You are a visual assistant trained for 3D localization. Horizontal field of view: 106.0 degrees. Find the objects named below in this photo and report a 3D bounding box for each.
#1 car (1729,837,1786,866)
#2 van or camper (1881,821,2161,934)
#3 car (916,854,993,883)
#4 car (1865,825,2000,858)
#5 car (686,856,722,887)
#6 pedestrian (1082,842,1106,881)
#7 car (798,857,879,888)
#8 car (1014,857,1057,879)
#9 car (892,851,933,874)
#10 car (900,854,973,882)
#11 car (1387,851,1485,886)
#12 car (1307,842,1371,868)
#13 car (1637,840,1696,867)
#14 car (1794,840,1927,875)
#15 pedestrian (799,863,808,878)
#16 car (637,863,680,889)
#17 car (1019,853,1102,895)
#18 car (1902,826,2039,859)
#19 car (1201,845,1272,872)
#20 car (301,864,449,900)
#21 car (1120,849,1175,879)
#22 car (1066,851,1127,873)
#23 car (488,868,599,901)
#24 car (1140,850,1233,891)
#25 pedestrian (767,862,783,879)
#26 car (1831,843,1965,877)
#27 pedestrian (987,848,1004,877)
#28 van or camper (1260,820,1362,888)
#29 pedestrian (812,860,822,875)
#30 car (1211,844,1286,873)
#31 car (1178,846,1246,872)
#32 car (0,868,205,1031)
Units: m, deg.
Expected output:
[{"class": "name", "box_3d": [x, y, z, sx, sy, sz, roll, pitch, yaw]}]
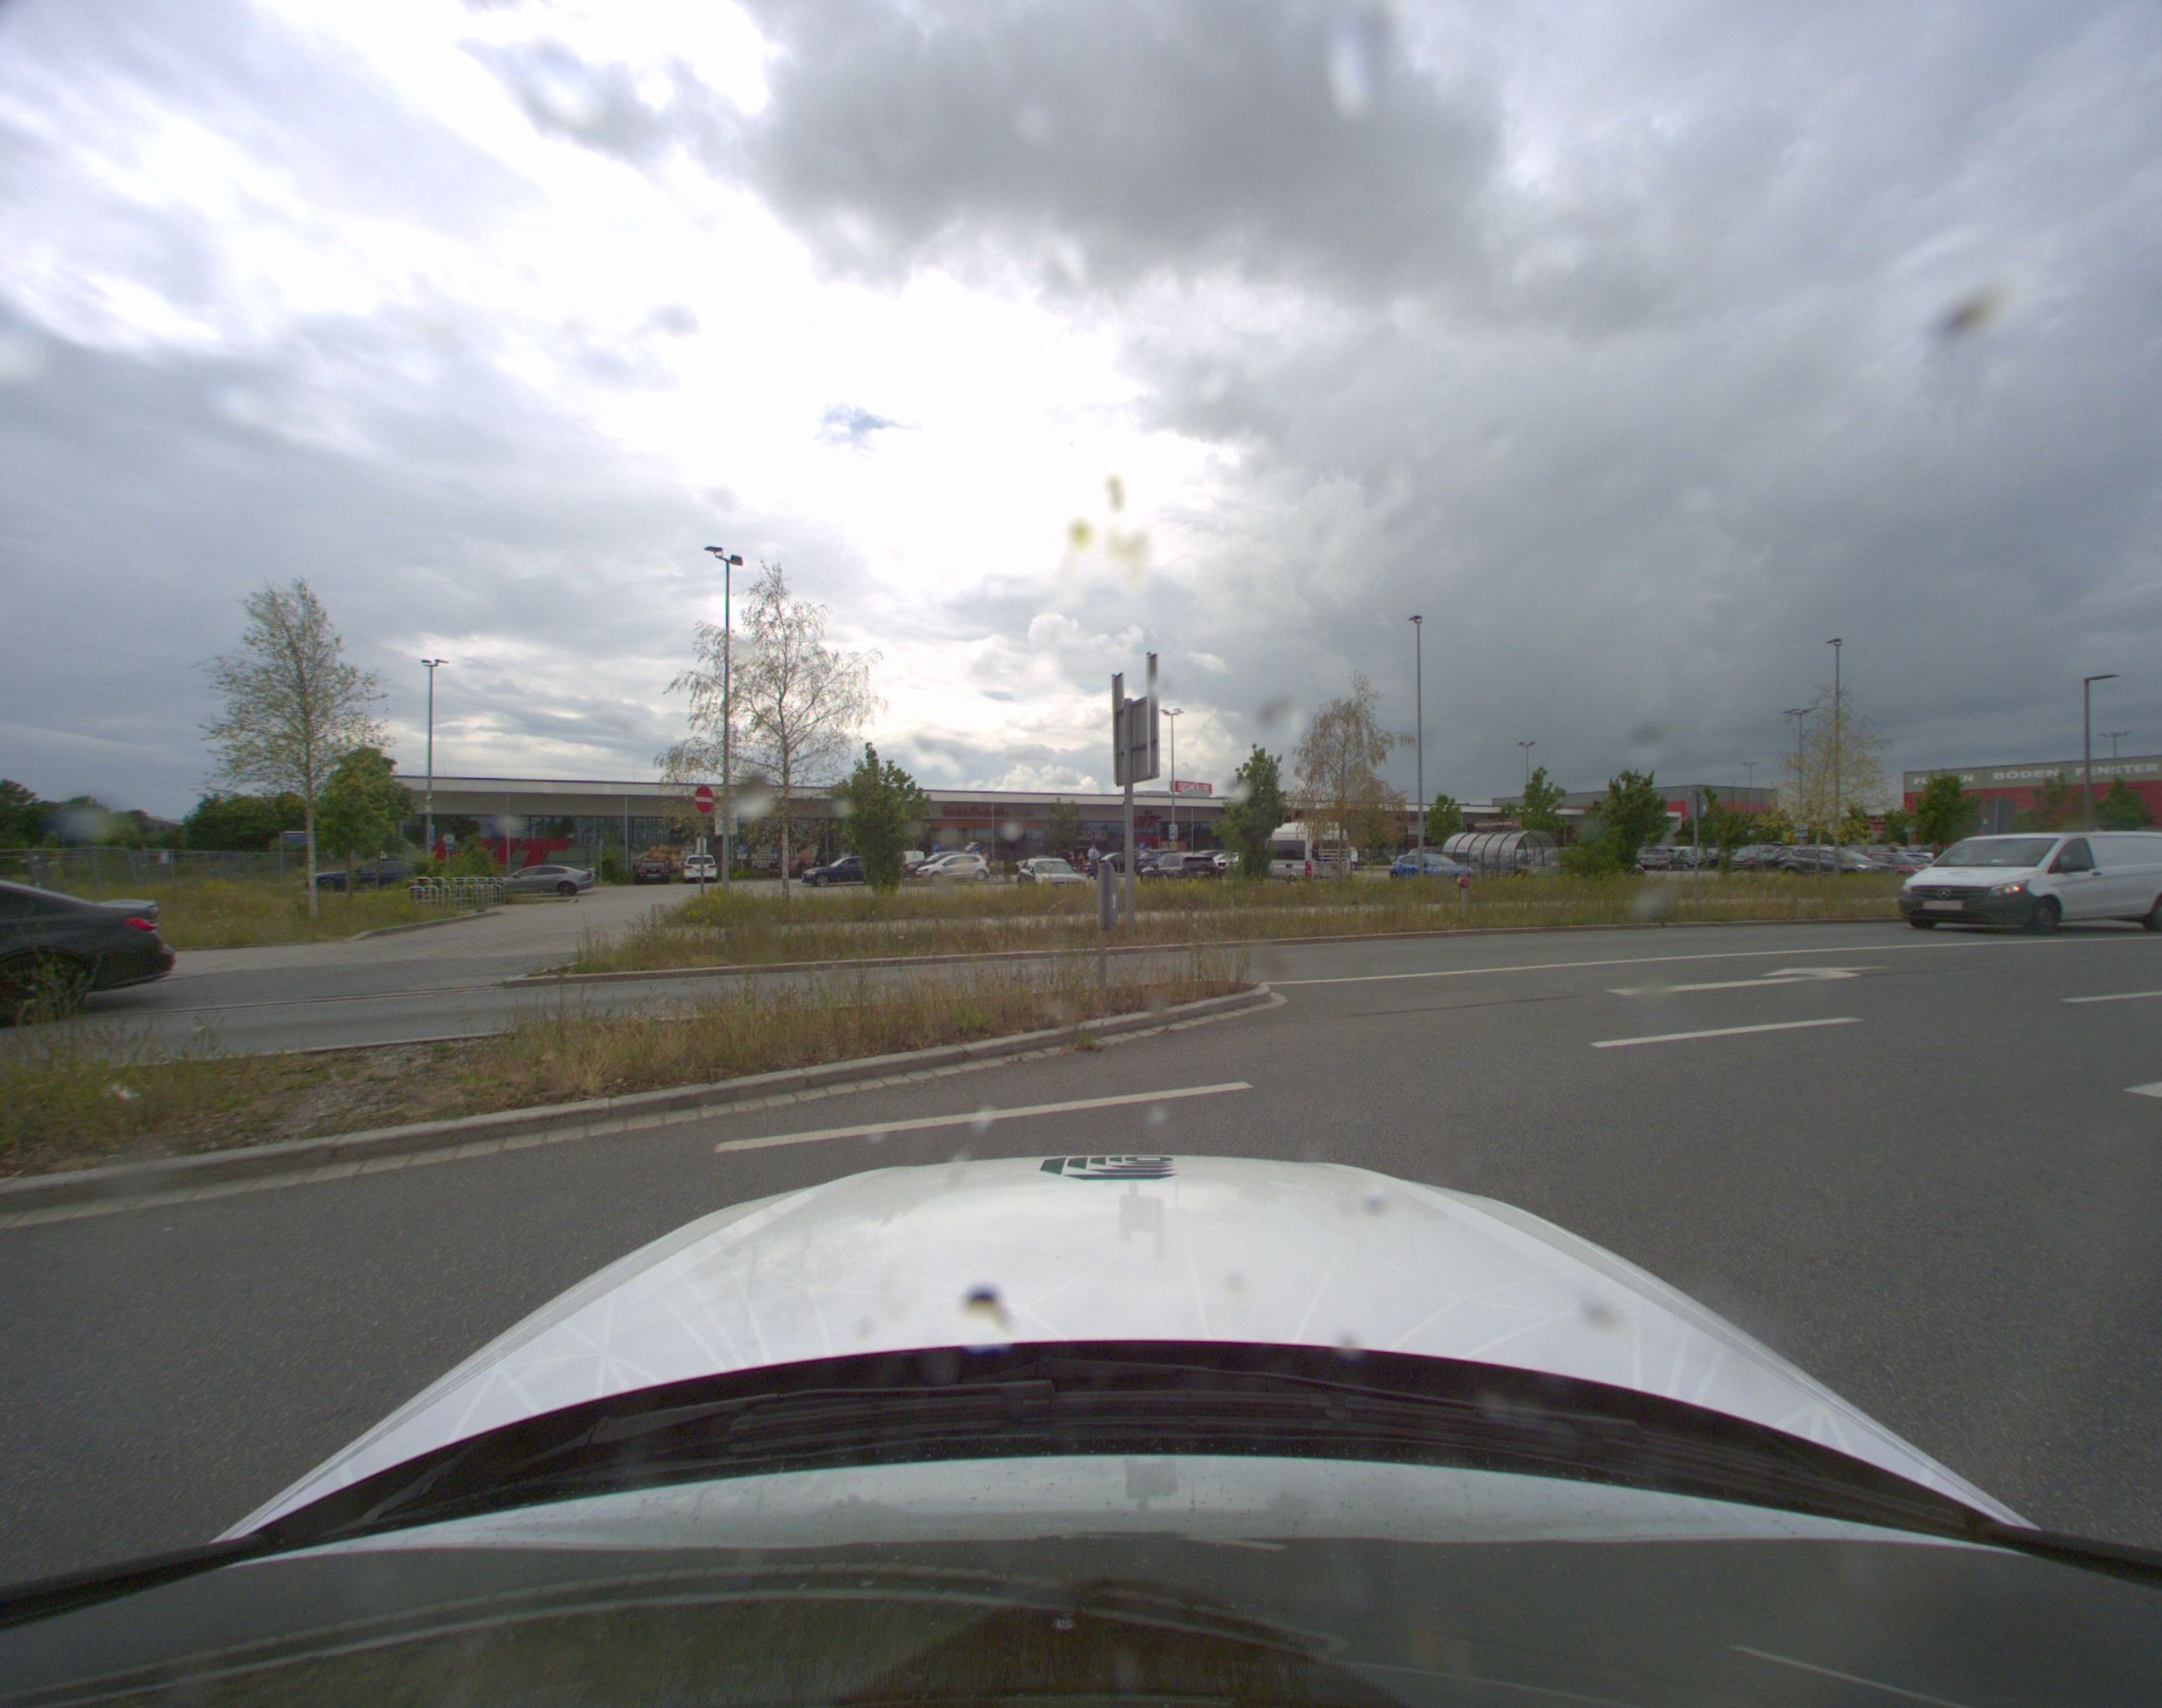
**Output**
[{"class": "car", "box_3d": [42.533, -0.176, 51.169, 3.852, 1.653, 1.744, -2, 1, -34]}, {"class": "van or camper", "box_3d": [18.515, 0.377, 15.579, 5.189, 1.911, 1.993, -1, 0, -11]}, {"class": "car", "box_3d": [-6.754, 0.754, 43.547, 3.765, 1.454, 1.654, -1, 0, -26]}, {"class": "car", "box_3d": [38.331, -0.564, 36.778, 1.910, 1.390, 3.798, -1, 1, -13]}, {"class": "car", "box_3d": [-23.086, 1.012, 49.992, 1.832, 1.700, 4.202, -1, 1, -22]}, {"class": "pedestrian", "box_3d": [0.685, 0.376, 42.891, 1.003, 2.013, 0.862, -1, 0, -17]}, {"class": "car", "box_3d": [-12.100, 0.894, 40.661, 3.626, 1.454, 1.653, -1, 0, -26]}, {"class": "car", "box_3d": [-3.384, 0.990, 59.916, 2.002, 1.508, 3.970, -1, 0, -23]}, {"class": "car", "box_3d": [-11.597, 0.563, 55.907, 2.002, 1.508, 3.969, -1, 0, -23]}, {"class": "car", "box_3d": [-8.160, 0.768, 46.062, 3.765, 1.454, 1.654, -1, 0, -26]}, {"class": "car", "box_3d": [15.069, 0.584, 34.814, 1.806, 1.384, 4.132, -1, 0, -12]}, {"class": "car", "box_3d": [19.056, 0.052, 60.163, 4.439, 1.819, 1.982, -1, -1, -28]}, {"class": "car", "box_3d": [40.274, -0.052, 55.992, 4.015, 1.733, 1.979, -2, 1, -33]}, {"class": "car", "box_3d": [33.977, 0.137, 35.642, 1.910, 1.390, 3.798, -1, 1, -13]}, {"class": "pedestrian", "box_3d": [-20.728, 1.218, 60.863, 0.579, 1.124, 0.556, -1, 0, -29]}, {"class": "car", "box_3d": [-25.313, 1.273, 48.847, 1.914, 1.444, 3.970, -1, 0, -23]}, {"class": "car", "box_3d": [-0.844, 0.694, 29.786, 1.993, 1.384, 4.125, -1, 0, -17]}, {"class": "car", "box_3d": [40.521, -0.518, 37.233, 1.910, 1.390, 3.798, -1, 1, -13]}, {"class": "car", "box_3d": [9.888, 0.275, 51.999, 3.996, 1.618, 1.989, -1, 0, -17]}, {"class": "car", "box_3d": [-33.686, 1.286, 39.083, 5.039, 1.558, 1.981, -1, -1, -30]}, {"class": "car", "box_3d": [3.794, 0.554, 47.170, 1.818, 1.653, 3.978, -1, 0, -16]}, {"class": "car", "box_3d": [1.120, 0.559, 59.745, 4.005, 1.508, 1.984, -1, 0, -24]}, {"class": "car", "box_3d": [-24.476, 1.366, 37.256, 4.010, 1.352, 1.982, -1, -1, -28]}, {"class": "car", "box_3d": [3.972, 0.600, 31.404, 1.993, 1.451, 4.125, -1, 0, -17]}, {"class": "pedestrian", "box_3d": [-22.730, 1.211, 60.423, 0.976, 1.154, 1.123, -1, 0, -27]}, {"class": "car", "box_3d": [36.235, 0.251, 36.270, 1.910, 1.390, 3.798, -1, 1, -13]}, {"class": "pedestrian", "box_3d": [-4.952, 0.502, 47.107, 0.824, 1.632, 0.893, -1, -1, -20]}, {"class": "van or camper", "box_3d": [8.894, 0.010, 31.888, 2.284, 2.492, 3.984, -1, -1, -12]}, {"class": "pedestrian", "box_3d": [-19.596, 0.996, 60.459, 0.579, 1.124, 0.556, -1, 0, -29]}, {"class": "car", "box_3d": [10.145, 0.255, 49.384, 3.996, 1.618, 1.989, -1, 0, -17]}, {"class": "car", "box_3d": [8.772, 0.309, 54.605, 3.996, 1.618, 1.989, -1, 0, -17]}, {"class": "car", "box_3d": [-11.143, 0.936, 6.941, 1.764, 1.445, 4.634, 0, 1, 21]}]
